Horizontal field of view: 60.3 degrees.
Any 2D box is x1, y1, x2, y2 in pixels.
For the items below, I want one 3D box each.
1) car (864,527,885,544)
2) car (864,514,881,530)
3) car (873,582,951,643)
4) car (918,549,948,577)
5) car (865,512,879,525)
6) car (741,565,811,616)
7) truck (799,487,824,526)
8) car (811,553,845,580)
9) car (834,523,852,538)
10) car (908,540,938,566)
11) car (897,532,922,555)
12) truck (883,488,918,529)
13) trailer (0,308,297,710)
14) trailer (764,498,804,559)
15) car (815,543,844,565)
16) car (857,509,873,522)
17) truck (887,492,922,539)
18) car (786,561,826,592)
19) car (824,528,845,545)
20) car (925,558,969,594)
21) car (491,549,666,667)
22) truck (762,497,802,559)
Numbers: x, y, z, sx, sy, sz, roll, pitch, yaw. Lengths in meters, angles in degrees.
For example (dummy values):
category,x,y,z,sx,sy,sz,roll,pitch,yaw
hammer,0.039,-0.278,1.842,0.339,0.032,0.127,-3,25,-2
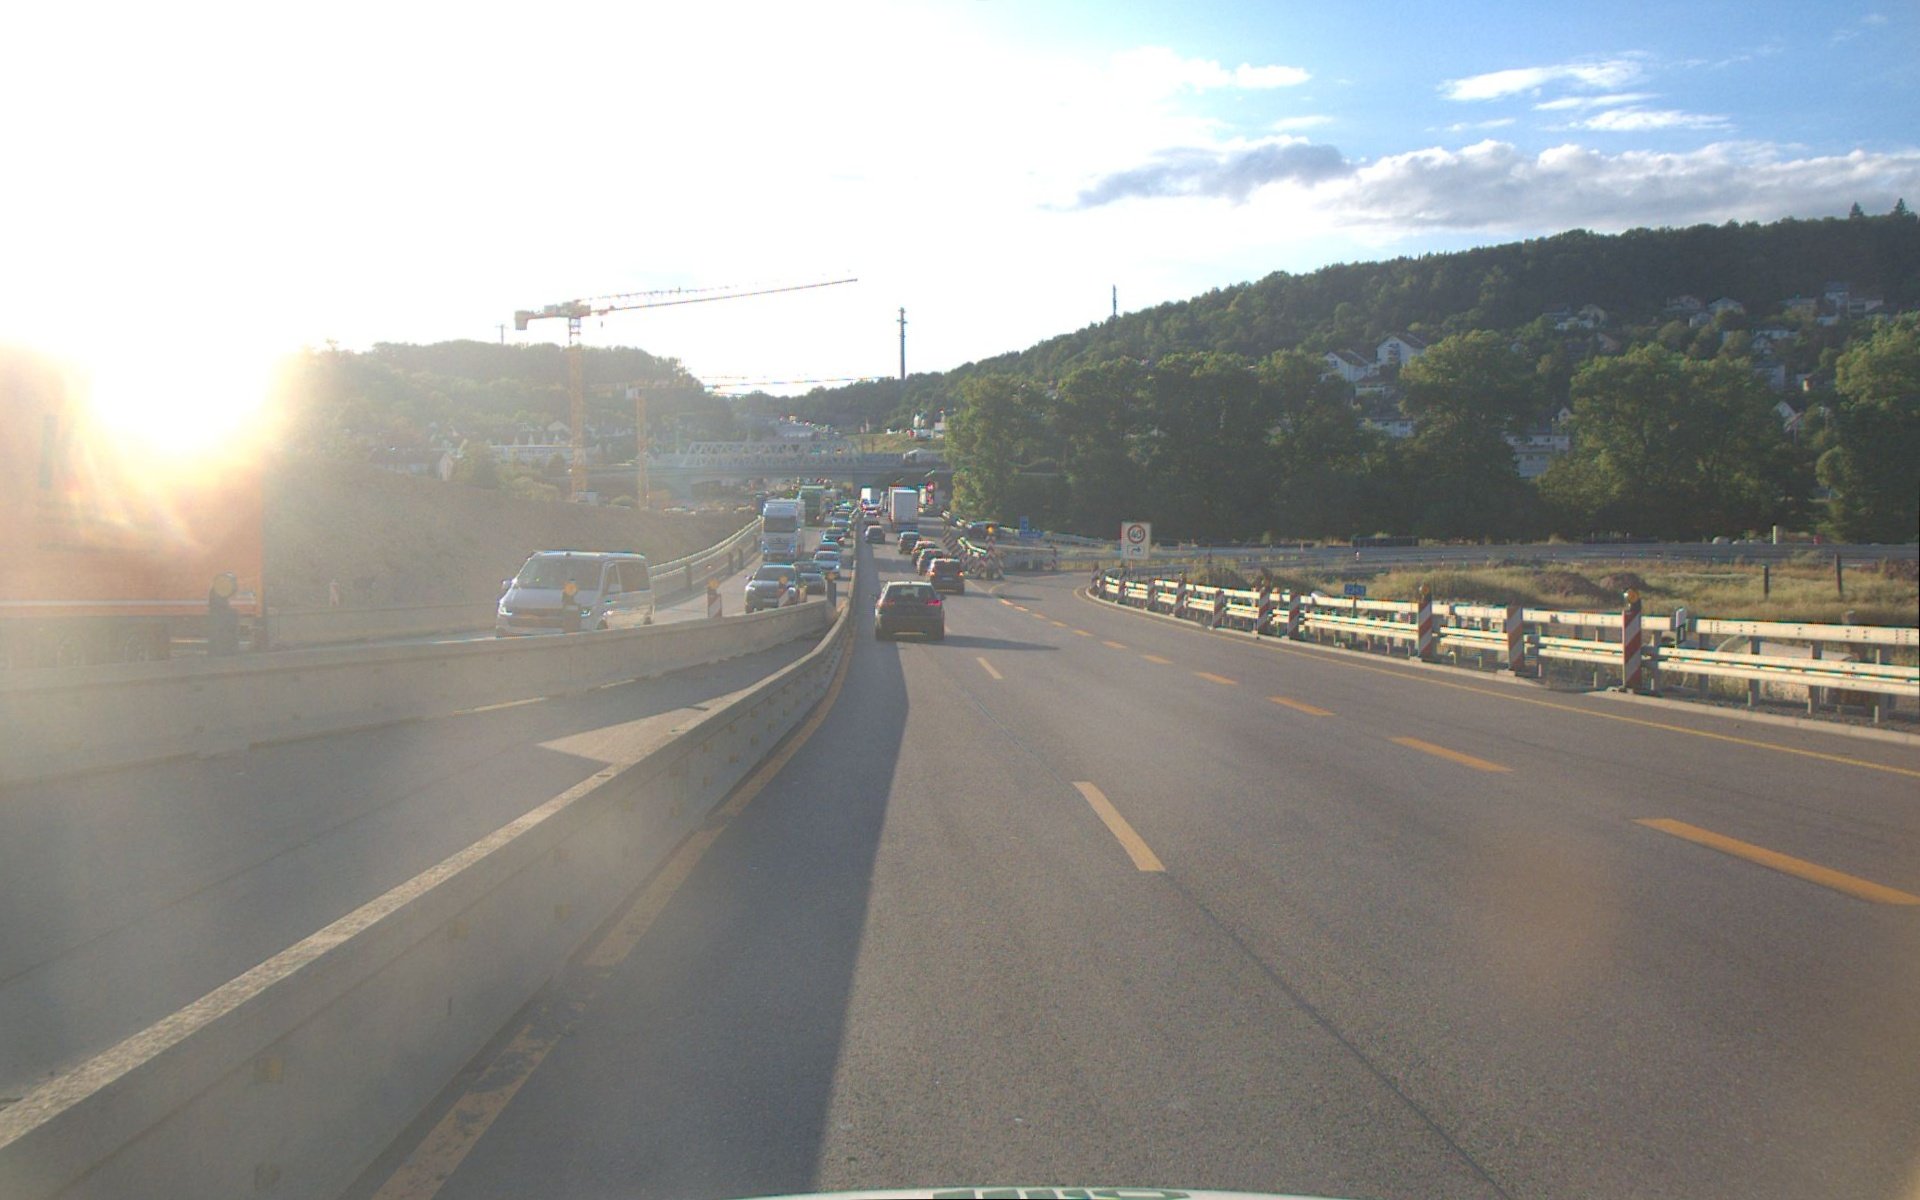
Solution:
category,x,y,z,sx,sy,sz,roll,pitch,yaw
car,-7.594,-5.773,147.745,1.826,1.444,3.999,1,2,-3
car,-10.011,-8.915,188.776,1.885,1.579,3.998,1,0,-3
car,-1.268,0.294,42.002,1.735,1.414,3.996,1,1,-5
car,-1.674,-2.258,101.160,1.738,1.613,4.133,2,0,-2
car,-12.094,-11.247,228.207,1.885,1.579,3.998,2,0,-3
car,-6.395,-0.357,58.034,1.752,1.647,4.875,1,1,1
truck,-16.321,-10.341,181.998,2.715,4.151,5.773,1,3,-5
car,-7.604,-1.942,95.689,1.753,1.514,4.218,1,1,-2
car,-11.179,-6.640,158.326,1.681,1.434,4.325,0,3,-3
car,-2.581,-3.265,114.453,1.838,1.627,4.963,0,3,-5
car,-4.027,-4.518,131.061,1.779,1.660,4.409,1,3,-4
truck,-7.387,-11.322,203.225,3.813,4.574,15.264,1,4,-4
trailer,-12.217,-1.057,18.250,2.529,4.549,14.147,2,0,7
trailer,-13.205,-5.309,124.884,2.481,4.286,13.925,1,2,-4
car,-8.912,-3.158,113.493,1.813,1.509,4.509,0,2,-3
car,-12.181,-10.874,212.334,1.885,1.579,3.999,1,2,-3
truck,-5.925,-9.006,173.405,3.318,4.574,15.265,1,4,-3
car,-7.240,-1.116,77.910,1.753,1.381,4.632,1,1,-4
car,-10.799,-5.463,142.516,1.800,1.434,4.493,0,3,-3
car,-0.669,-1.135,79.416,1.777,1.643,4.522,2,0,-4
car,-7.237,0.115,31.985,1.952,2.049,5.258,1,1,2
truck,-12.747,-5.122,118.666,2.502,4.294,6.047,1,2,-4
